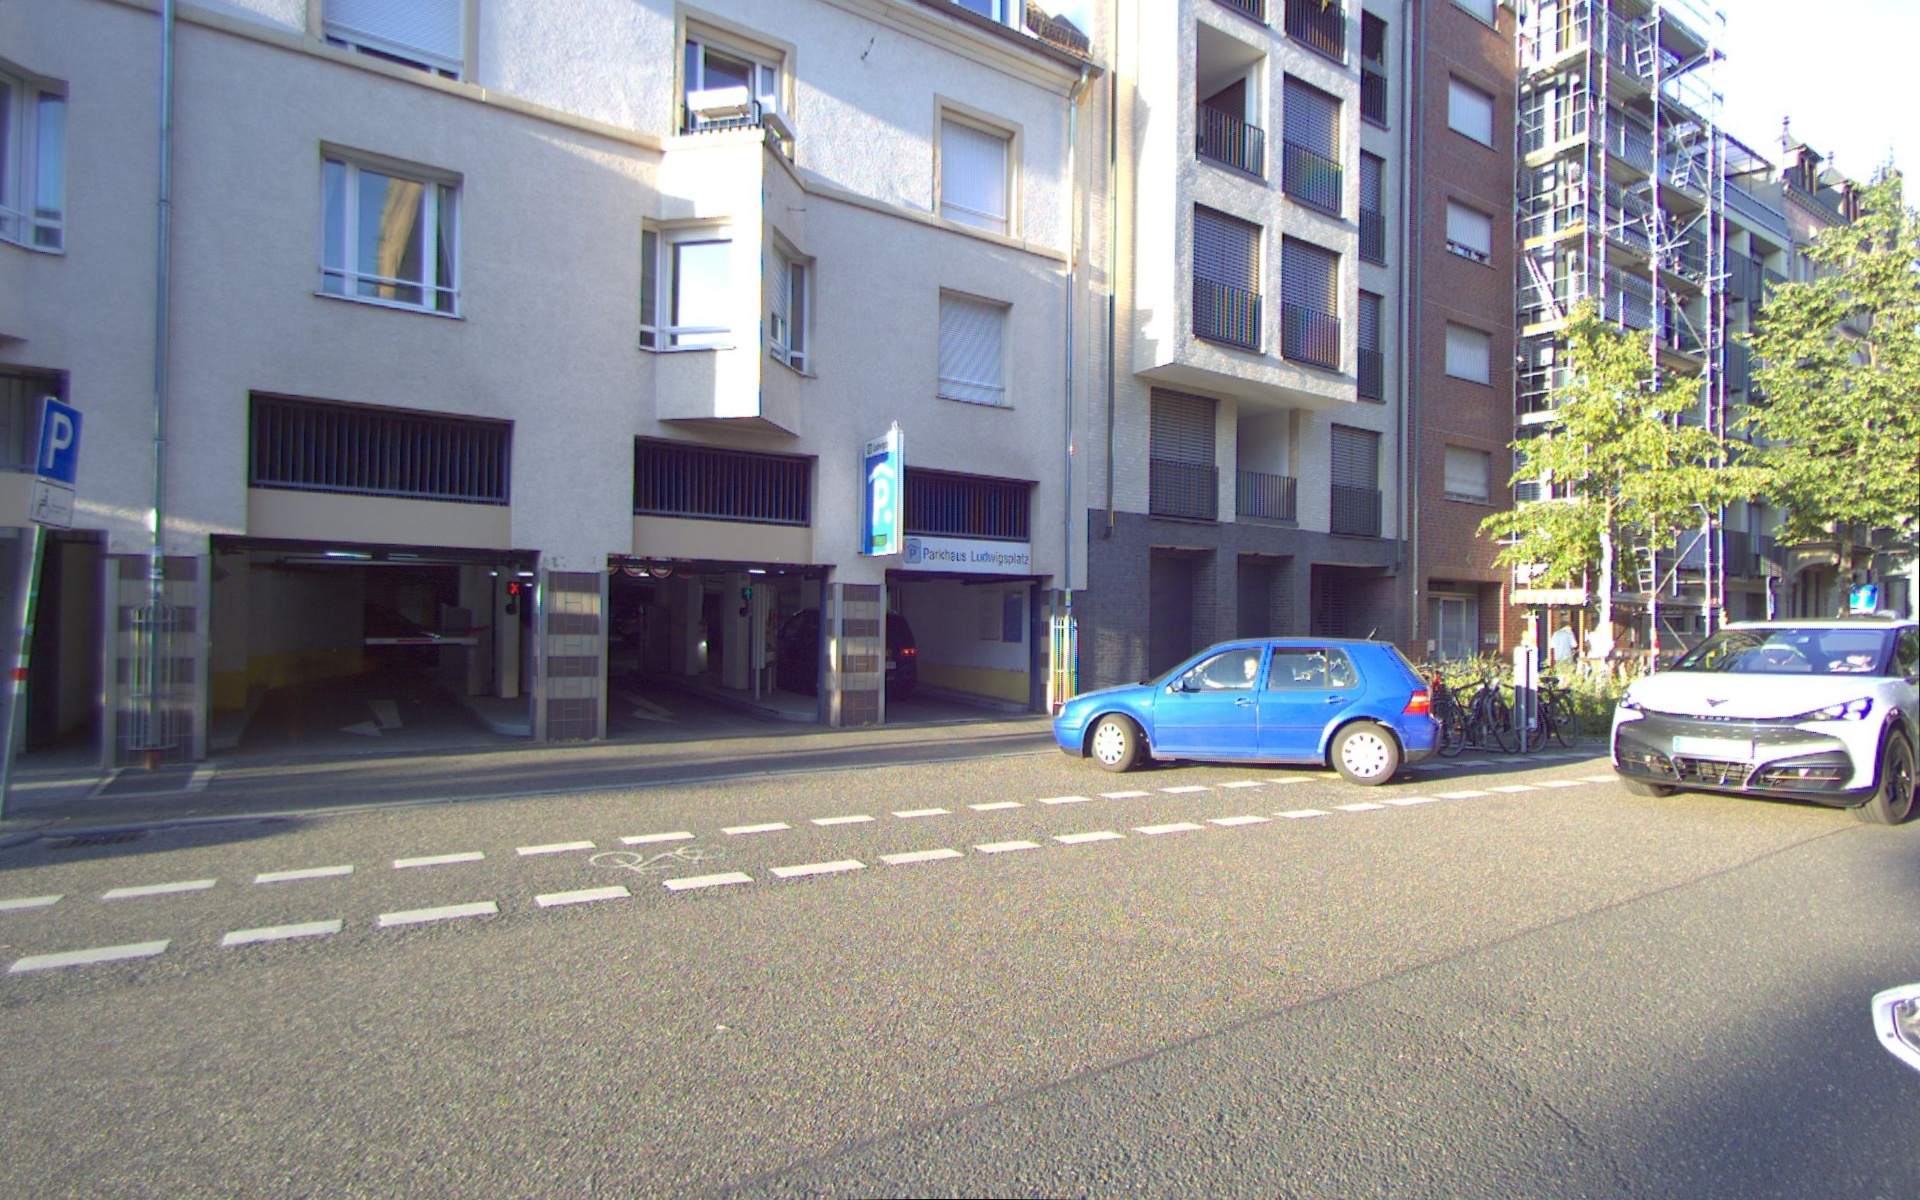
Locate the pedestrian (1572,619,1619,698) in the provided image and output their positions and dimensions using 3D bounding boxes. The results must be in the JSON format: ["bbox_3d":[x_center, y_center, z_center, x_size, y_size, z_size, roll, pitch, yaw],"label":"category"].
[{"bbox_3d":[14.892,1.349,23.530,0.650,1.807,0.737,2,-2,-34],"label":"pedestrian"}]

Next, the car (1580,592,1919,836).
[{"bbox_3d":[7.663,0.905,9.066,4.275,1.719,1.862,2,-3,-33],"label":"car"}]

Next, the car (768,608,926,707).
[{"bbox_3d":[-2.235,1.005,19.036,1.542,1.639,3.849,1,-1,-30],"label":"car"}]

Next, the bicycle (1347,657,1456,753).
[{"bbox_3d":[5.709,1.329,12.963,1.532,1.172,0.415,2,-1,-28],"label":"bicycle"}]

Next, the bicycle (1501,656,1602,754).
[{"bbox_3d":[7.714,1.332,13.082,1.535,1.194,0.504,2,-1,-33],"label":"bicycle"}]

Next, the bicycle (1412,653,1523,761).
[{"bbox_3d":[6.194,1.268,12.227,1.535,1.237,0.494,2,-1,-33],"label":"bicycle"}]

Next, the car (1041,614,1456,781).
[{"bbox_3d":[3.044,0.974,10.973,4.037,1.583,1.694,0,-2,18],"label":"car"}]

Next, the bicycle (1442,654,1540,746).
[{"bbox_3d":[7.284,1.343,13.759,1.535,1.178,0.484,2,-1,-33],"label":"bicycle"}]

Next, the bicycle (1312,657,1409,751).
[{"bbox_3d":[5.359,1.361,13.407,1.535,1.175,0.378,2,-1,-33],"label":"bicycle"}]

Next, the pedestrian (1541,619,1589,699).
[{"bbox_3d":[13.927,1.348,23.116,0.649,1.807,0.737,1,-2,-32],"label":"pedestrian"}]

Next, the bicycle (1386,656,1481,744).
[{"bbox_3d":[6.769,1.399,14.334,1.535,1.165,0.484,2,-1,-33],"label":"bicycle"}]
